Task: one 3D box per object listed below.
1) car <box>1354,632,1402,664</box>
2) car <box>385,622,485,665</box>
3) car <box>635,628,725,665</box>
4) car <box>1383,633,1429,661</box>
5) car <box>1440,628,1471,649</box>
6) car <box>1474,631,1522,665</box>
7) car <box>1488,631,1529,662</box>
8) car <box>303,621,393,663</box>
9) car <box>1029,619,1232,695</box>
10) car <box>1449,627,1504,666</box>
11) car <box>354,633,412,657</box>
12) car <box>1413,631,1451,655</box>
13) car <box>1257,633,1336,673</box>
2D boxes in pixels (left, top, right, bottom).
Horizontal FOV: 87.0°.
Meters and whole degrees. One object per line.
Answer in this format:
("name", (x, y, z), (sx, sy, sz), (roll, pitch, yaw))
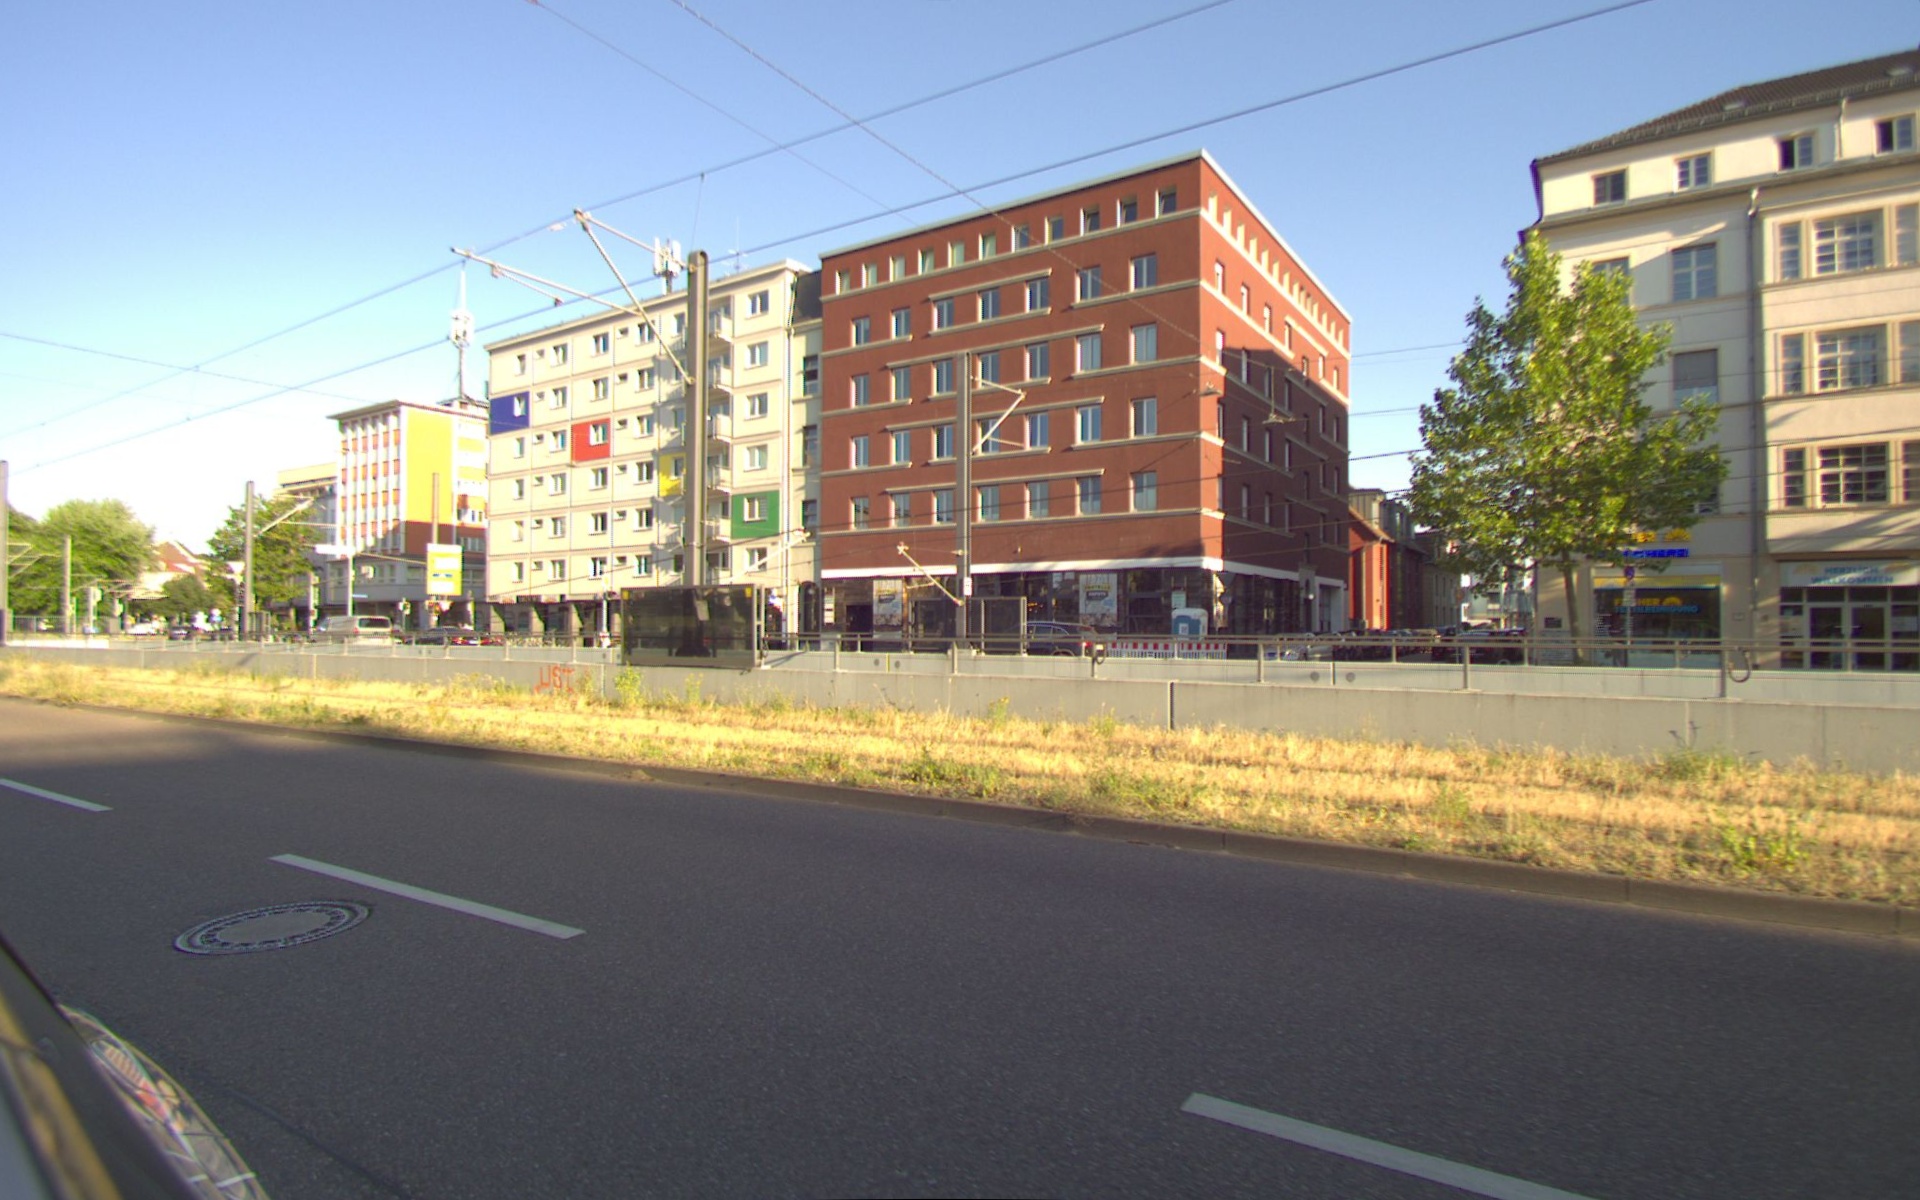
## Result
("car", (20.778, 2.352, 50.244), (1.450, 1.506, 3.829), (-2, -2, 34))
("car", (-23.321, 1.924, 44.895), (4.884, 1.811, 1.976), (-2, -2, 36))
("car", (-14.506, 2.385, 52.402), (4.731, 1.811, 1.976), (-2, -2, 35))
("car", (24.712, 2.572, 56.017), (1.564, 1.486, 3.953), (-2, -2, 34))
("car", (35.441, 2.738, 72.352), (1.450, 1.439, 3.584), (-2, -1, 35))
("car", (25.465, 2.247, 47.832), (1.546, 1.559, 3.953), (-2, -2, 34))
("car", (28.086, 2.354, 51.781), (1.450, 1.506, 3.829), (-2, -2, 34))
("car", (-30.511, 2.062, 50.401), (4.761, 2.029, 1.977), (-1, -2, 33))
("car", (4.445, 1.467, 26.792), (4.969, 1.833, 1.976), (-2, -2, 36))
("car", (21.703, 1.922, 42.462), (1.546, 1.559, 3.491), (-2, -2, 36))
("car", (-31.560, 2.468, 55.347), (3.175, 1.297, 1.218), (-1, -2, 28))
("car", (29.754, 2.691, 63.724), (1.529, 1.439, 3.829), (-2, -2, 34))
("car", (13.466, 2.091, 40.424), (1.894, 1.497, 3.951), (-2, -2, 36))
